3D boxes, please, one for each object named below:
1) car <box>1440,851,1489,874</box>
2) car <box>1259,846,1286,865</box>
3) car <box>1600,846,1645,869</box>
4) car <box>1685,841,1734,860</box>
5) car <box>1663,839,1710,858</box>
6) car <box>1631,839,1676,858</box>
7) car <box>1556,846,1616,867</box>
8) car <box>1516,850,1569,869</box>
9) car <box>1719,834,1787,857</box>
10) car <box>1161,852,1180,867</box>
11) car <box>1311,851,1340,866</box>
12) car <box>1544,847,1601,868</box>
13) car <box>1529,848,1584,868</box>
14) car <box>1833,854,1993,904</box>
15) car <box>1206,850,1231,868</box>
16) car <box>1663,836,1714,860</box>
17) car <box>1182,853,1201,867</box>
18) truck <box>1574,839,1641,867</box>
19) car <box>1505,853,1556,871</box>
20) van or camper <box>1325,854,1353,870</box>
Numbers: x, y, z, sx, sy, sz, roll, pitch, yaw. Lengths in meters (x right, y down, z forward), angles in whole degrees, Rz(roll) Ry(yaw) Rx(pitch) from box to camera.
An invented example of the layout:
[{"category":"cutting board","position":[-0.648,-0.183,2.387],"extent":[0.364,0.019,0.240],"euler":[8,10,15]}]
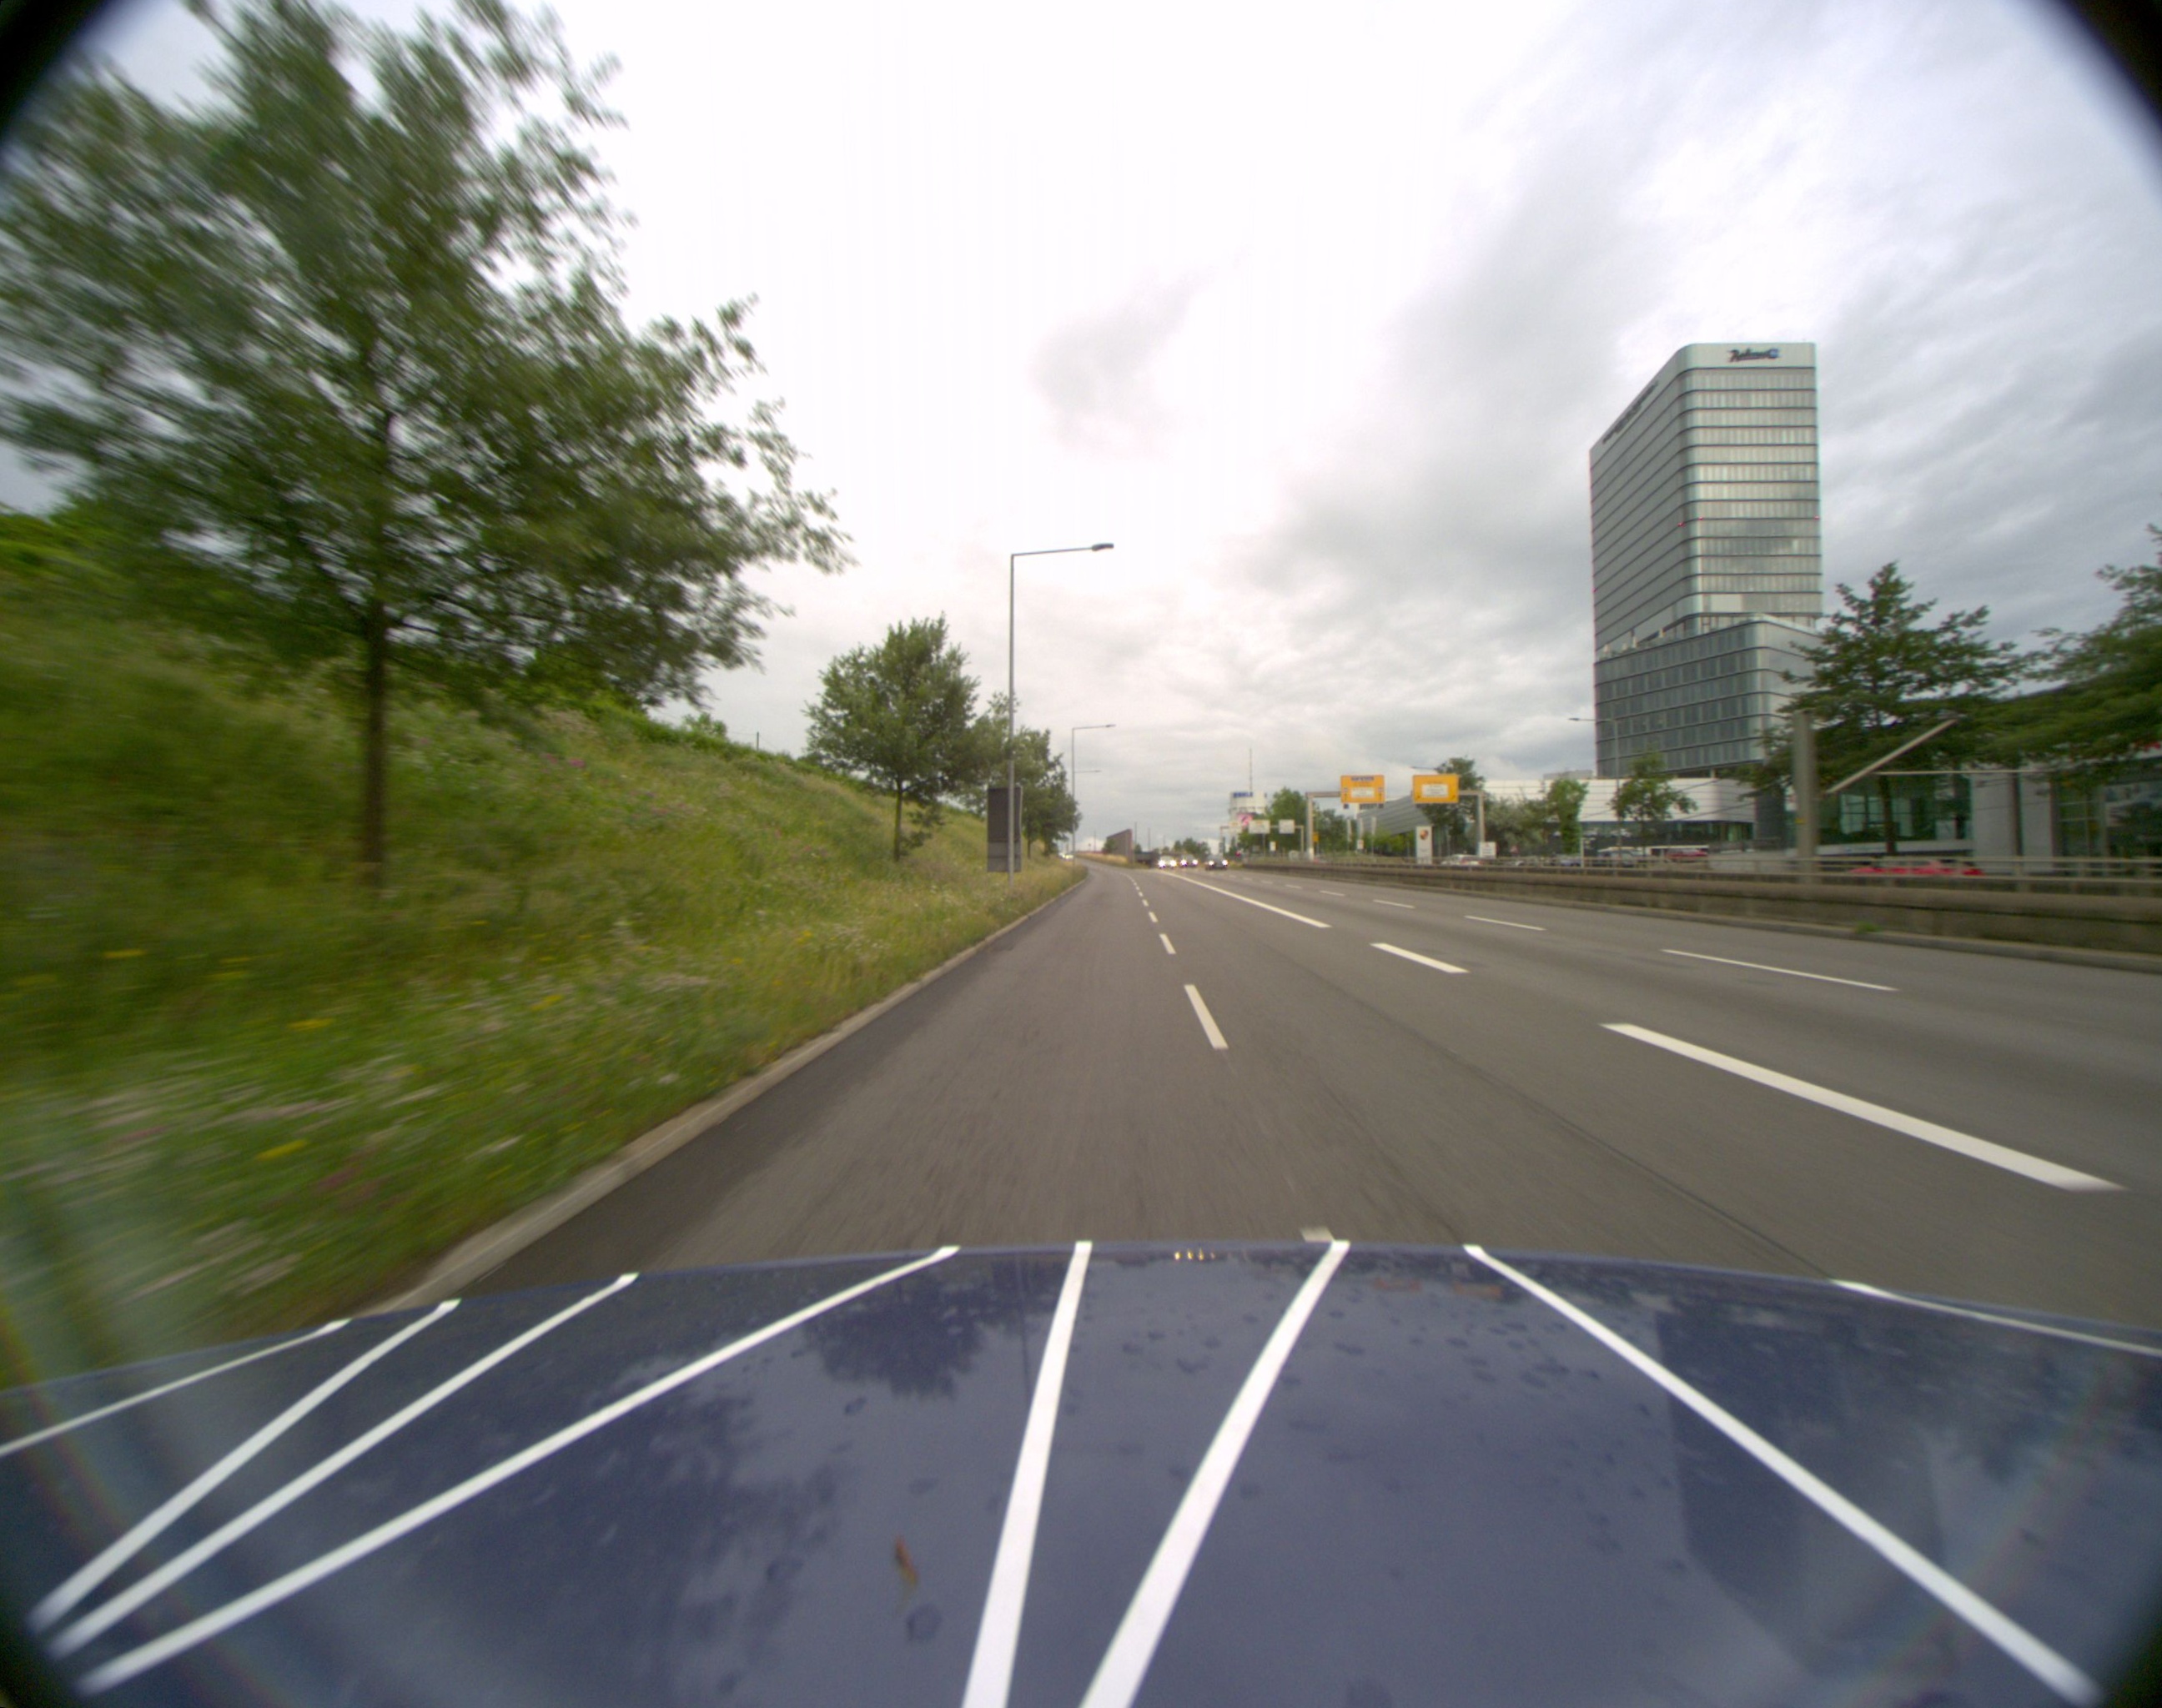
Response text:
[{"category":"car","position":[28.501,0.682,56.616],"extent":[1.997,1.575,4.004],"euler":[-1,-2,7]},{"category":"car","position":[18.645,0.150,74.145],"extent":[1.692,1.580,3.551],"euler":[-2,-3,1]},{"category":"car","position":[44.585,0.292,62.638],"extent":[1.919,1.673,4.510],"euler":[-3,-3,22]},{"category":"car","position":[63.448,-0.337,76.747],"extent":[1.921,1.673,4.004],"euler":[-3,-3,8]},{"category":"car","position":[61.283,-0.515,77.008],"extent":[1.921,1.673,4.004],"euler":[-3,-3,8]},{"category":"car","position":[58.464,-0.487,77.657],"extent":[1.921,1.673,4.004],"euler":[-3,-3,8]},{"category":"car","position":[45.418,0.266,68.370],"extent":[3.996,1.673,1.925],"euler":[-3,-2,4]},{"category":"car","position":[45.884,0.548,75.548],"extent":[3.996,1.673,1.925],"euler":[-3,-2,4]},{"category":"car","position":[62.024,-0.763,70.272],"extent":[1.997,1.870,5.540],"euler":[-3,-1,9]},{"category":"car","position":[10.378,0.643,88.643],"extent":[1.872,1.622,4.000],"euler":[-1,0,2]},{"category":"car","position":[26.995,0.459,83.978],"extent":[1.998,1.576,4.000],"euler":[0,1,2]},{"category":"car","position":[45.689,0.324,70.707],"extent":[3.996,1.673,1.925],"euler":[-3,-2,4]},{"category":"car","position":[45.752,0.433,73.129],"extent":[3.996,1.673,1.925],"euler":[-3,-2,4]},{"category":"car","position":[33.569,0.951,30.850],"extent":[1.998,1.767,4.102],"euler":[-2,0,1]},{"category":"car","position":[13.025,0.468,72.114],"extent":[1.871,1.622,4.001],"euler":[-1,0,5]},{"category":"car","position":[56.473,-0.526,70.755],"extent":[1.905,1.870,4.004],"euler":[-3,-3,9]},{"category":"car","position":[13.534,0.697,93.620],"extent":[1.872,1.622,4.000],"euler":[-1,0,2]},{"category":"truck","position":[55.483,-0.061,80.314],"extent":[2.371,2.512,7.417],"euler":[-3,-3,5]},{"category":"car","position":[46.058,0.822,77.893],"extent":[3.996,1.673,1.925],"euler":[-3,-2,4]},{"category":"van or camper","position":[30.903,0.963,91.178],"extent":[1.869,1.647,3.950],"euler":[-2,-3,0]}]
